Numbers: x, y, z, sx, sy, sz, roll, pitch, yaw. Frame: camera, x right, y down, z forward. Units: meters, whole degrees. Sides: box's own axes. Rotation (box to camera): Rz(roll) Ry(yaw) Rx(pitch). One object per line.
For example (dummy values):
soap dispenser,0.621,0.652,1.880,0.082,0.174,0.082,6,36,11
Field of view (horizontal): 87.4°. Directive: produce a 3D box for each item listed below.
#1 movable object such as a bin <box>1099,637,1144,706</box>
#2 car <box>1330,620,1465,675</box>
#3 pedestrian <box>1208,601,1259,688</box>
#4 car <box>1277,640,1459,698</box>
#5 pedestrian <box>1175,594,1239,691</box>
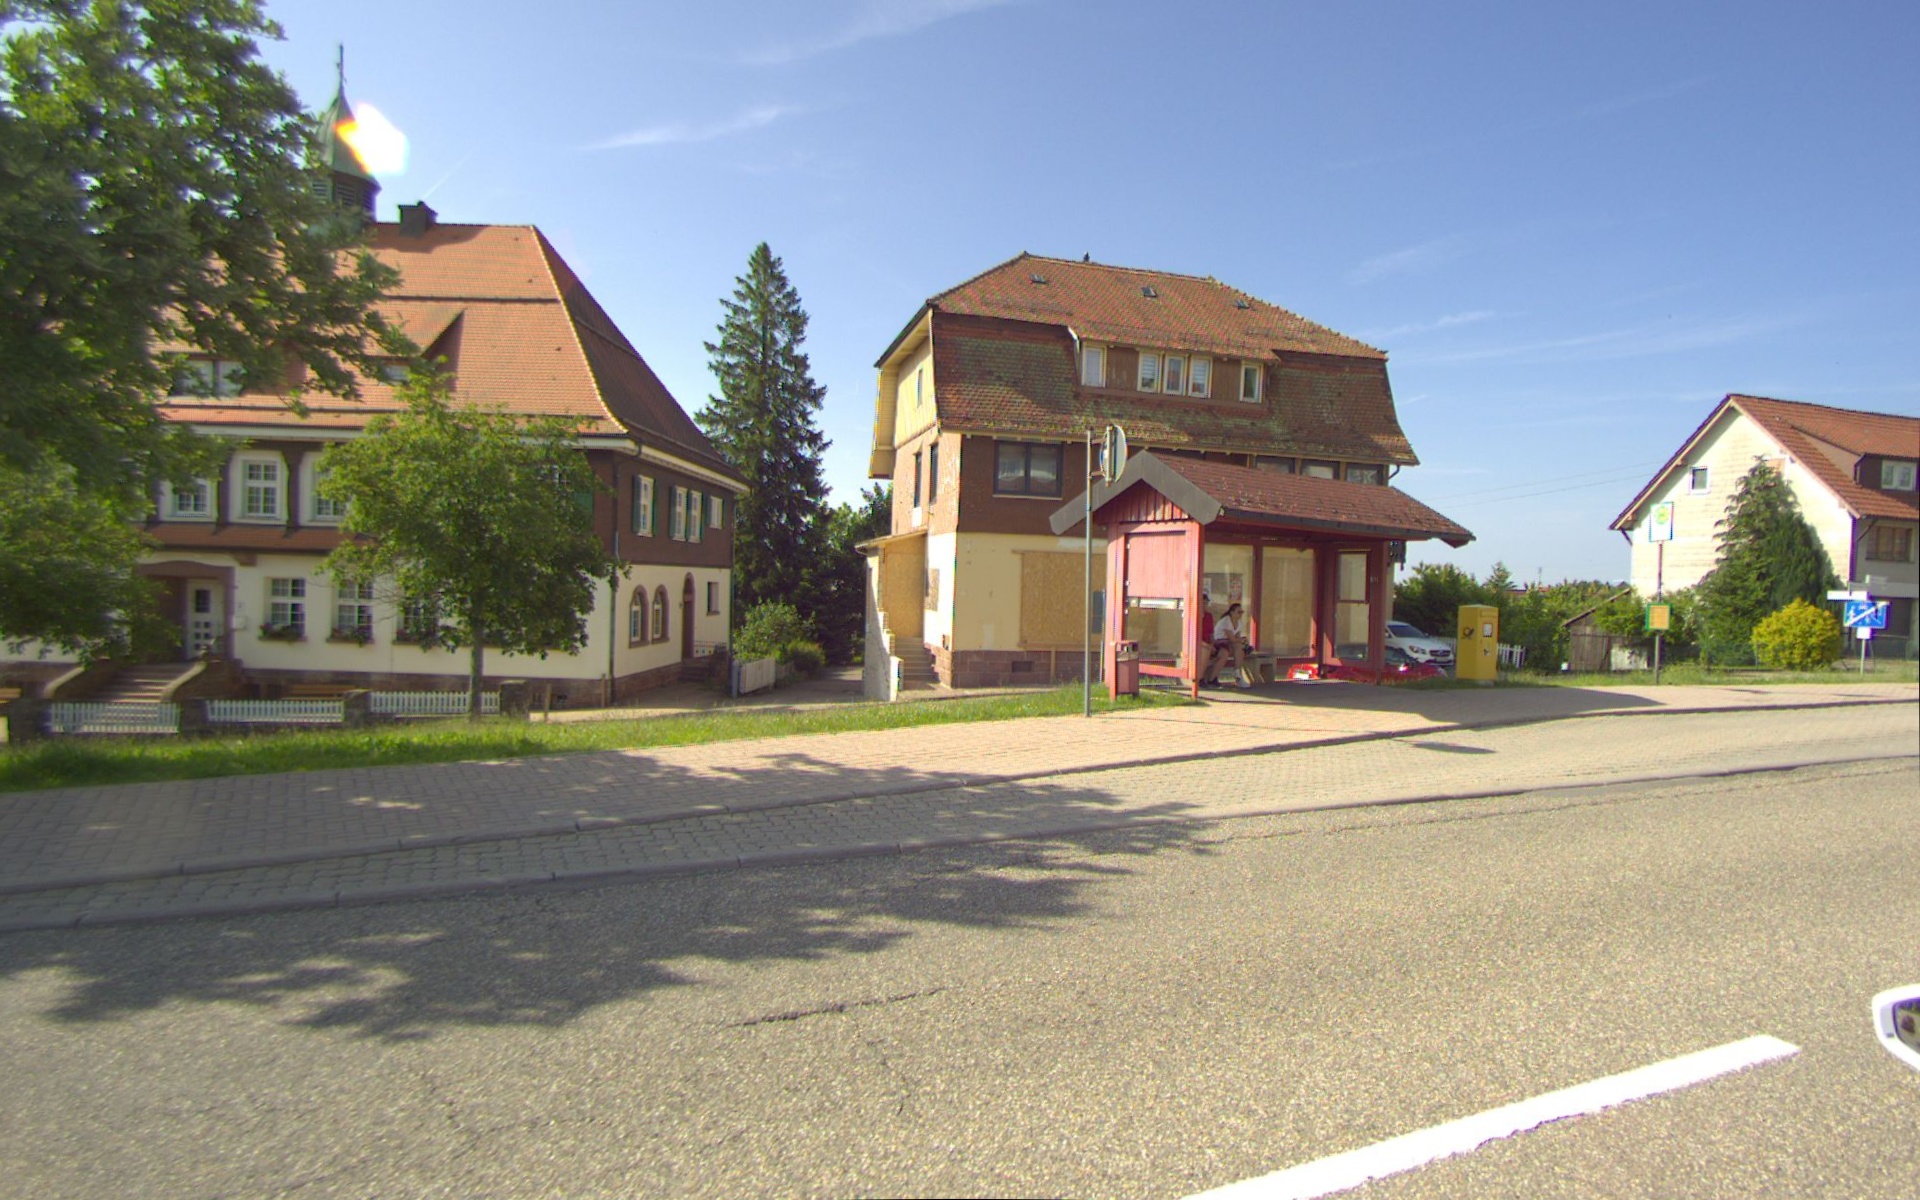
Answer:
movable object such as a bin,2.041,0.890,12.678,0.480,0.848,0.303,1,-1,-32
car,14.974,1.598,34.666,1.772,1.531,4.296,3,1,-19
pedestrian,4.118,0.664,15.125,0.419,1.269,0.625,1,-2,-32
car,9.977,1.649,24.644,3.934,1.314,1.721,1,-1,-15
pedestrian,3.637,0.618,14.814,0.666,1.382,0.614,0,-1,-31
